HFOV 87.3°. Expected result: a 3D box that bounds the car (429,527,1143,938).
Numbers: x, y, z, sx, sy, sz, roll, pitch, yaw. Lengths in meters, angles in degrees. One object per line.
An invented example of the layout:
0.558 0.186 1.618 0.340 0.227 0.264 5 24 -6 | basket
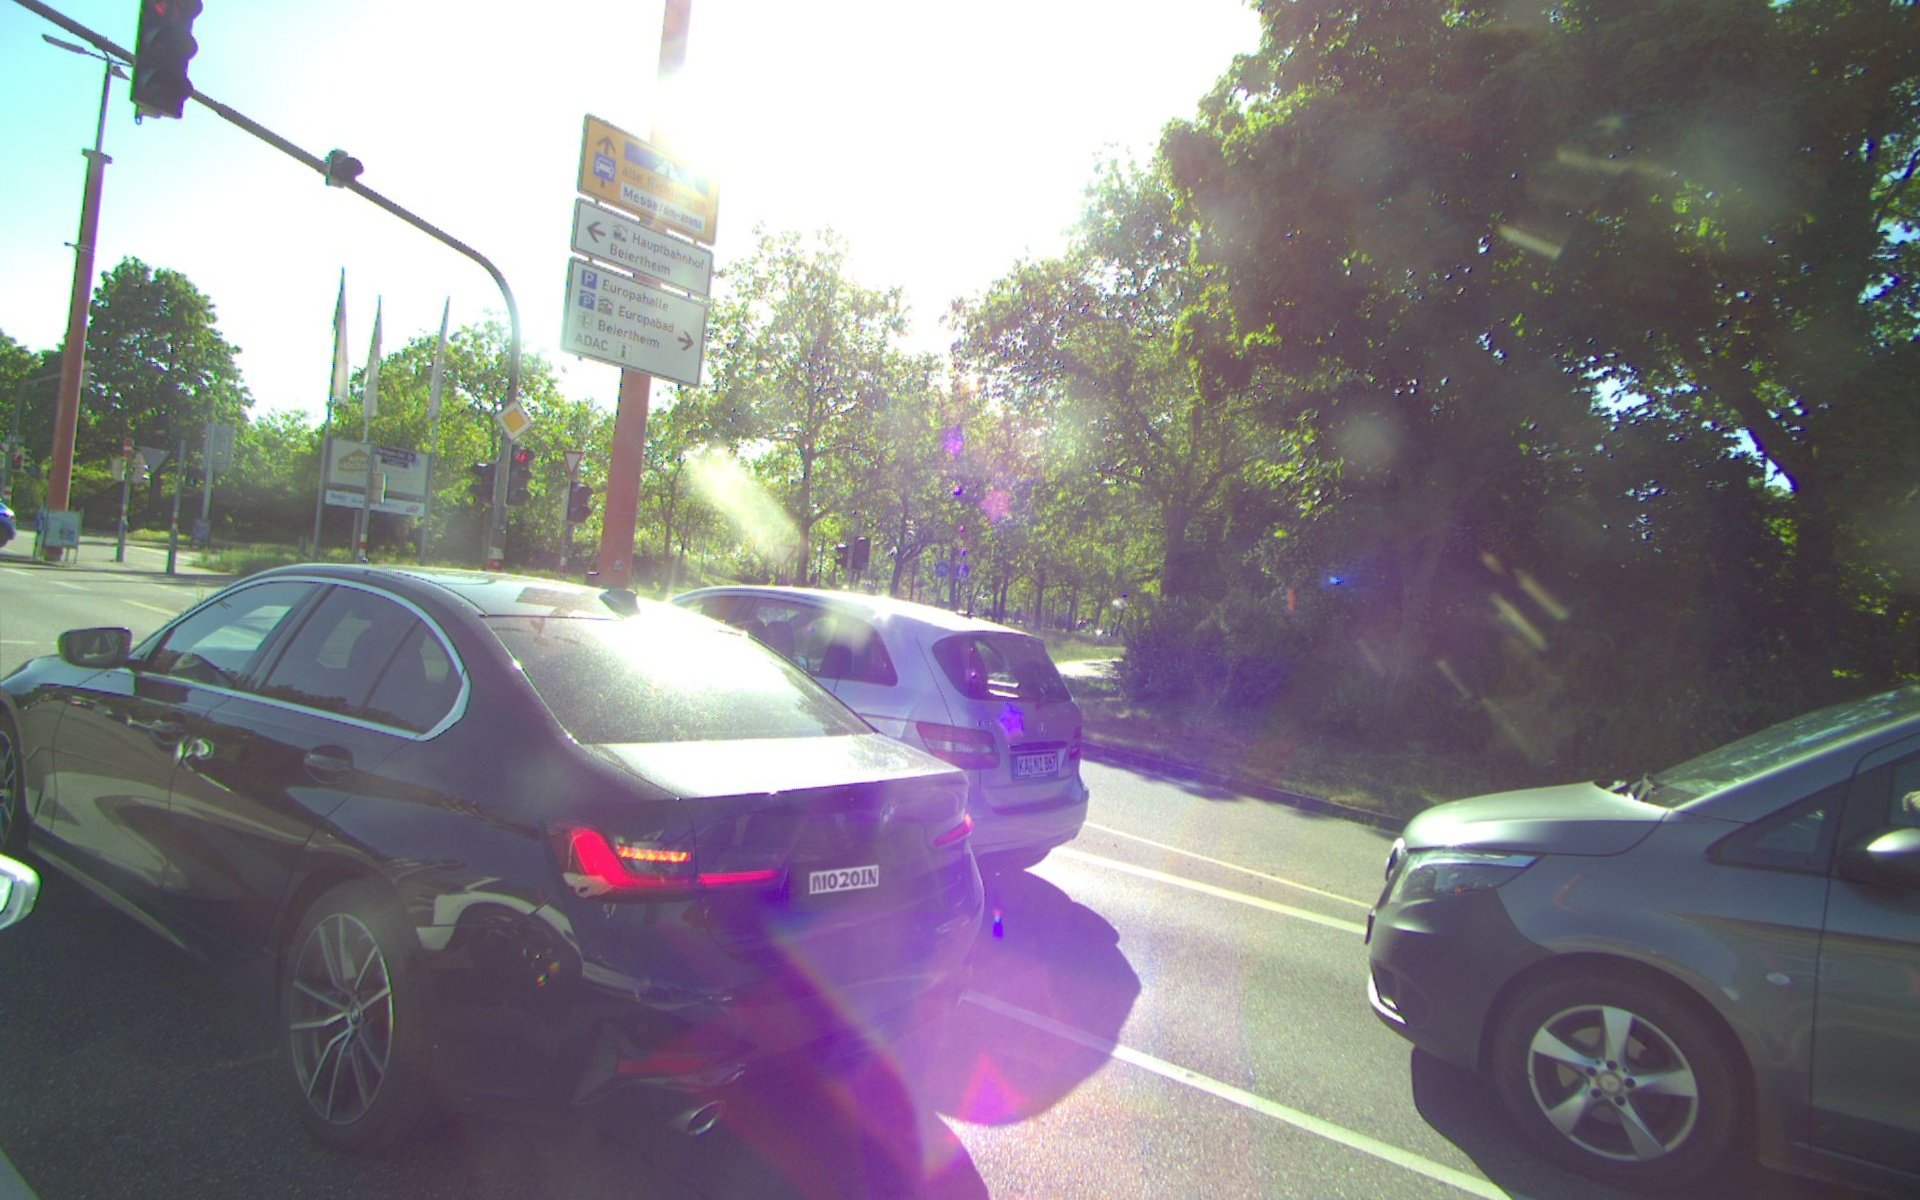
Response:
-1.286 0.637 6.792 4.403 1.706 1.970 7 -1 32 | car

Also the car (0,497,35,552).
-27.097 -2.222 26.169 1.849 1.445 4.282 7 -1 3 | car

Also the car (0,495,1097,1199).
-1.964 0.525 3.884 4.403 1.411 1.996 7 0 32 | car

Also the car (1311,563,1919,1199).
4.038 1.141 3.169 5.063 1.916 1.996 7 0 32 | car
